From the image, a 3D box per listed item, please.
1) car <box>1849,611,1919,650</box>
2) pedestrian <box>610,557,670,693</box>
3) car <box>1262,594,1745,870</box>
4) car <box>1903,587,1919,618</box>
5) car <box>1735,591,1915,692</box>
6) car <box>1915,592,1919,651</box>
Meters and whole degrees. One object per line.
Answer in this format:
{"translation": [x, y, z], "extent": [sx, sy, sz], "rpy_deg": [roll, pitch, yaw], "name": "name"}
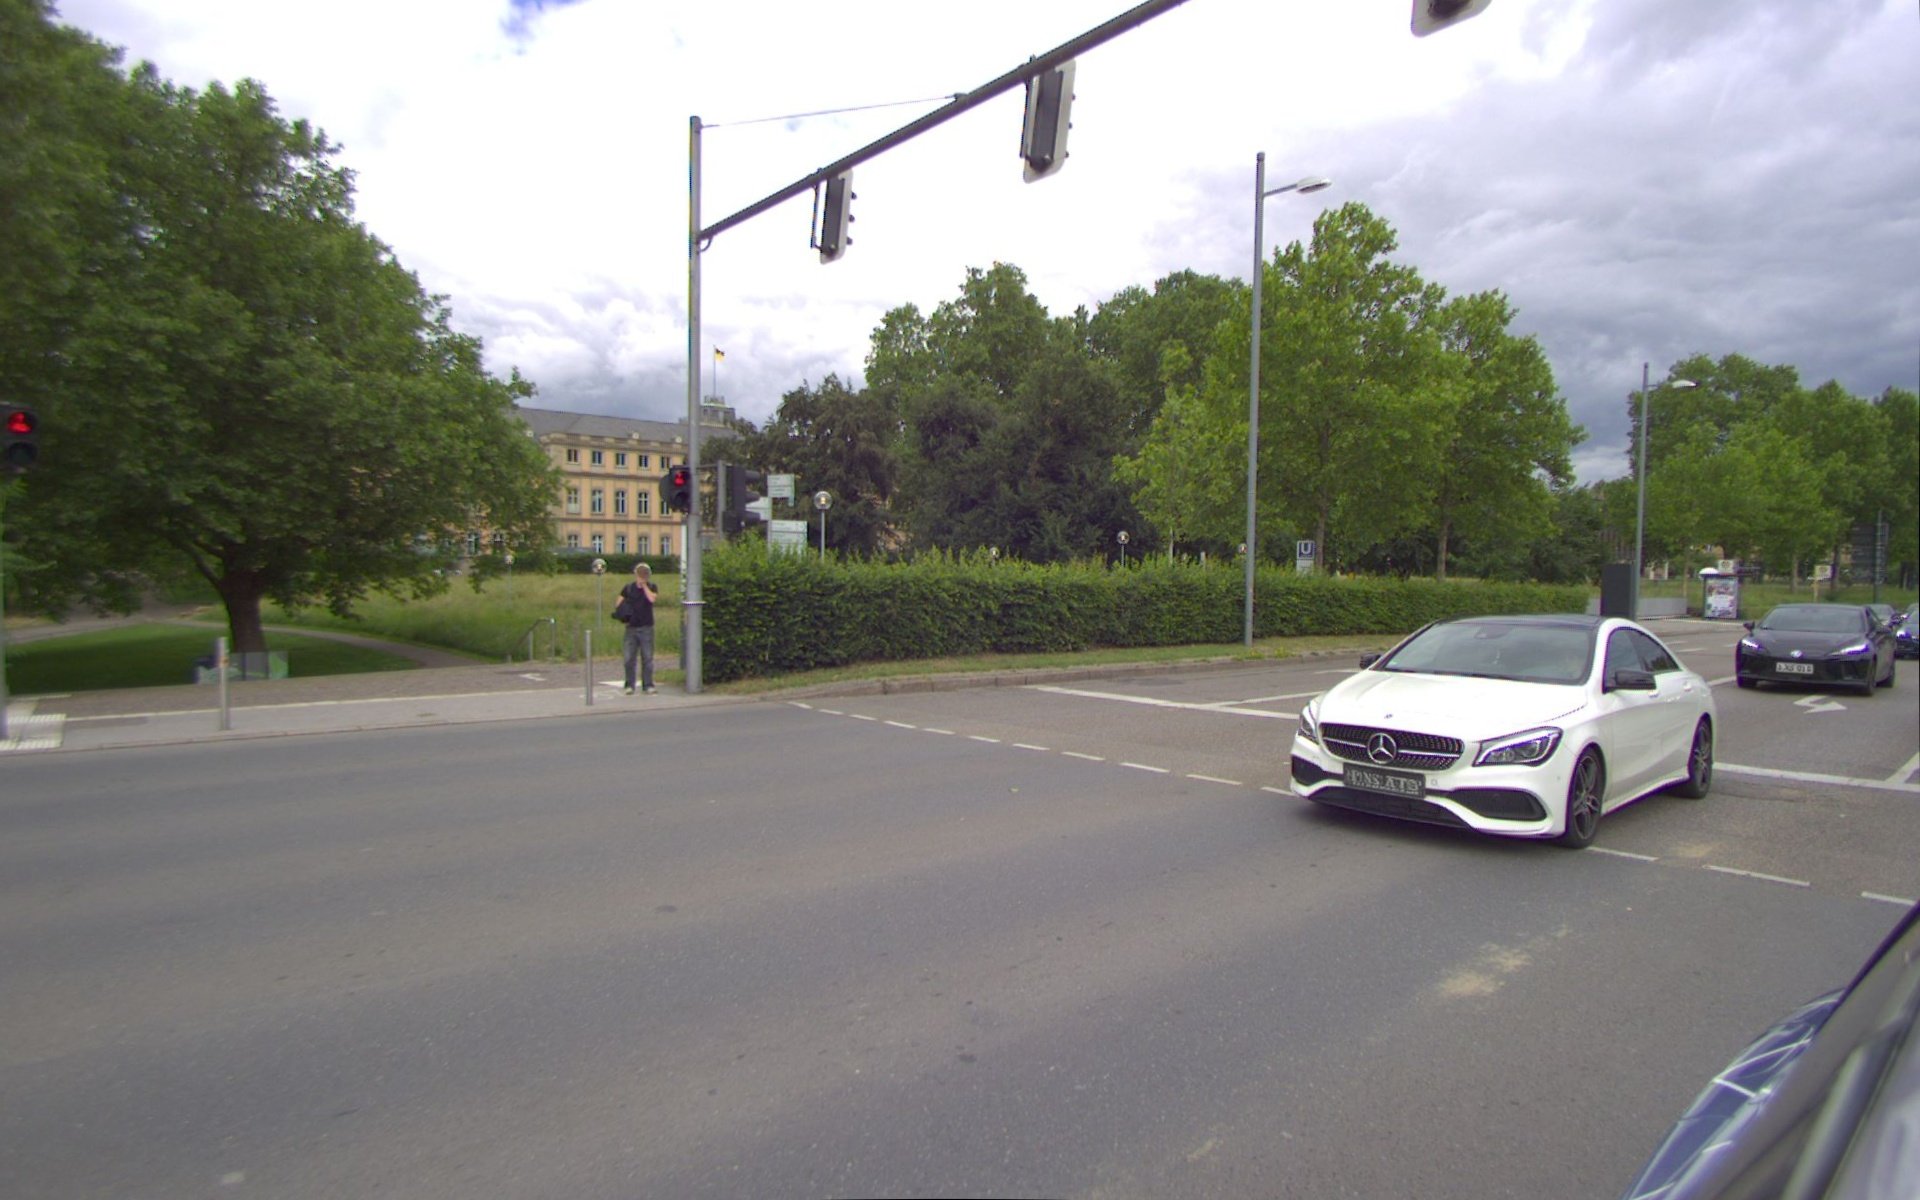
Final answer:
{"translation": [38.066, 1.227, 41.531], "extent": [3.930, 1.438, 1.866], "rpy_deg": [0, 1, -41], "name": "car"}
{"translation": [-4.341, 0.325, 13.734], "extent": [0.610, 1.786, 0.478], "rpy_deg": [0, 1, -44], "name": "pedestrian"}
{"translation": [4.242, 0.695, 7.548], "extent": [4.427, 1.441, 1.722], "rpy_deg": [-1, 1, -41], "name": "car"}
{"translation": [50.551, 0.125, 52.706], "extent": [3.931, 1.556, 1.722], "rpy_deg": [-1, 1, -41], "name": "car"}
{"translation": [15.252, 0.650, 17.777], "extent": [4.048, 1.543, 1.828], "rpy_deg": [0, 1, -41], "name": "car"}
{"translation": [27.055, 0.573, 27.204], "extent": [3.930, 1.556, 1.572], "rpy_deg": [0, 0, -40], "name": "car"}
